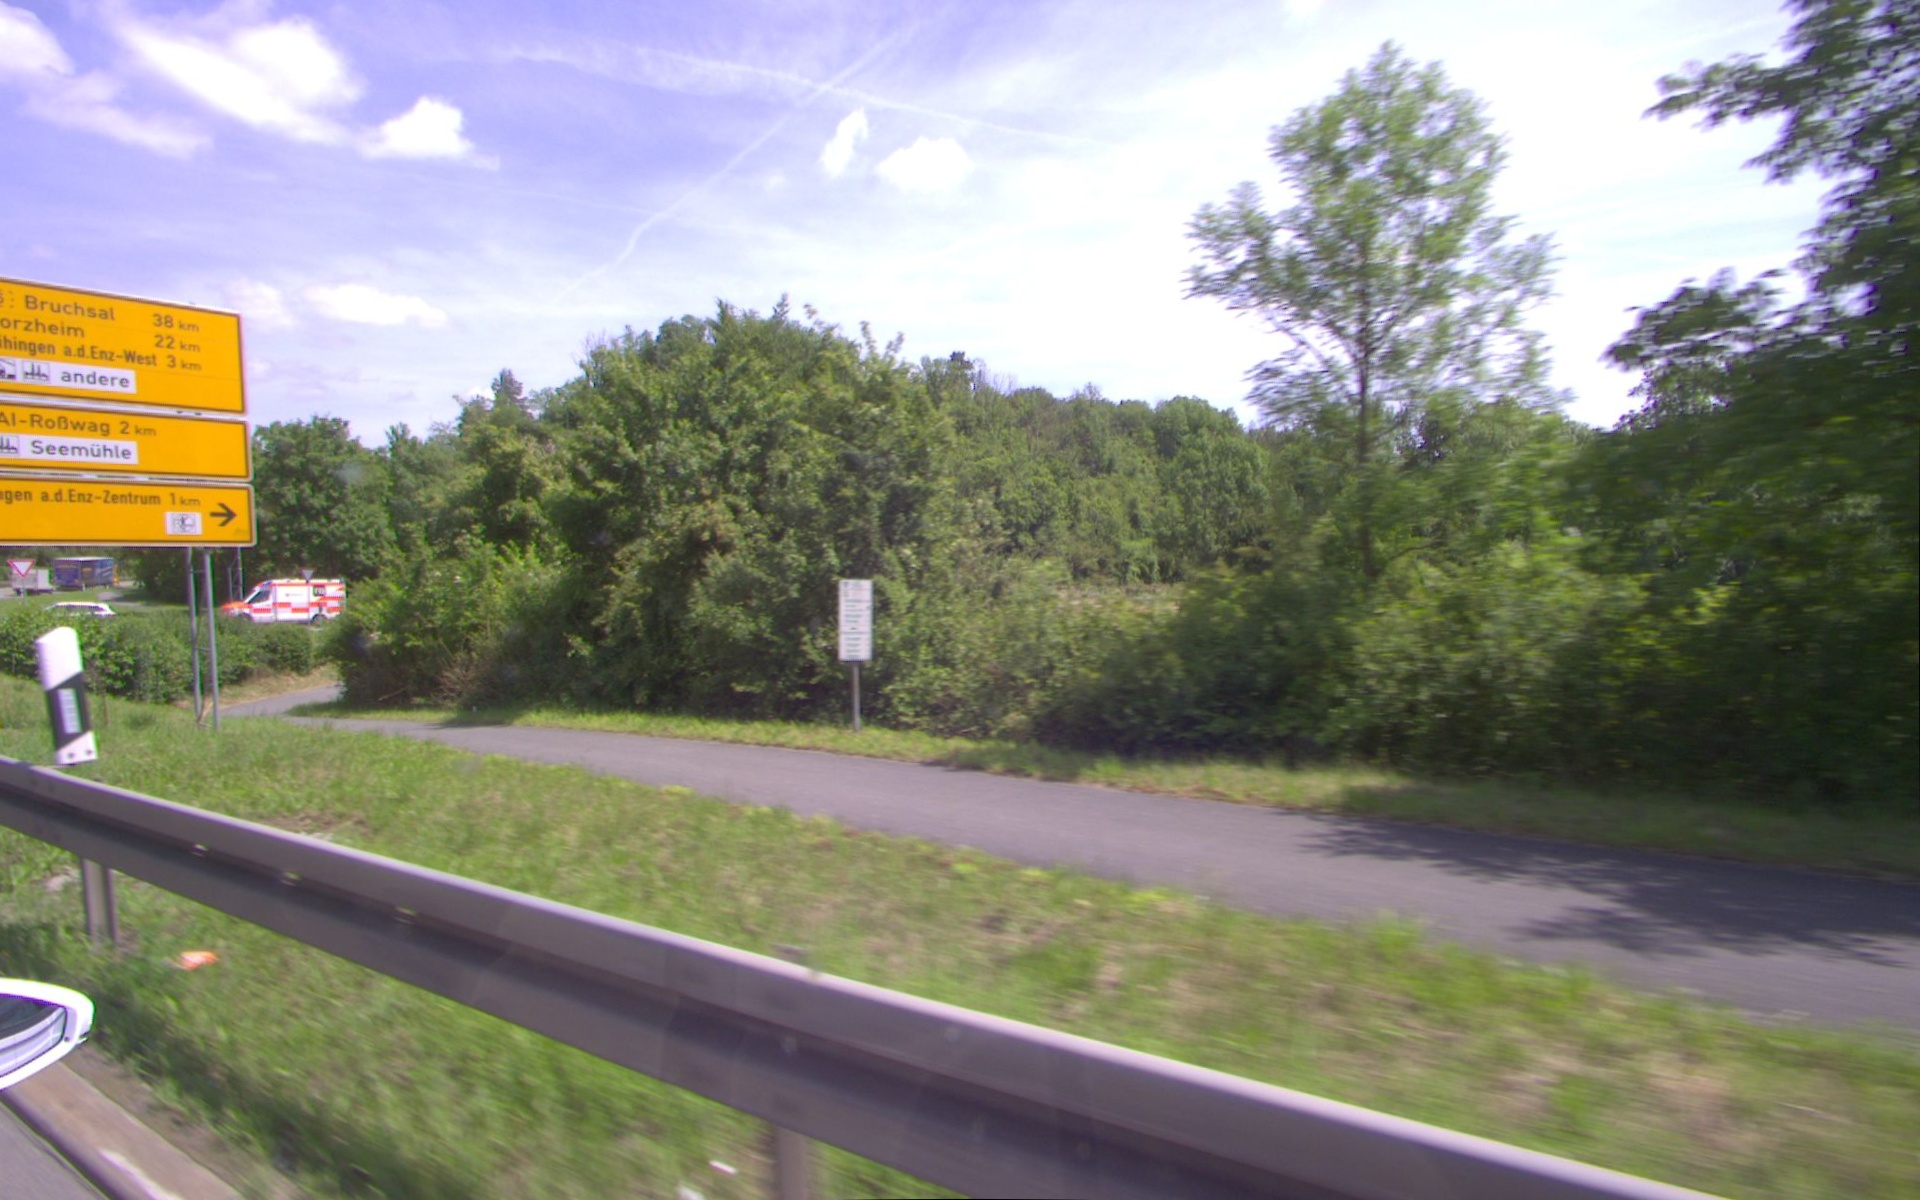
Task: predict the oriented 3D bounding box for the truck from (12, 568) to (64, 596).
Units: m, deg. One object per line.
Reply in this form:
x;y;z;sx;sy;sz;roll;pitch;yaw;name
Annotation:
-104.152;-1.986;113.241;2.824;2.987;7.066;0;0;-30;truck

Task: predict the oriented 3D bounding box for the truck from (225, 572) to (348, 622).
-39.747;-0.130;59.315;5.950;2.762;2.488;1;-2;-33;truck

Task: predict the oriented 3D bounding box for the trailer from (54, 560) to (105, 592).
-112.146;-2.986;127.670;3.216;3.734;9.200;0;0;-30;trailer

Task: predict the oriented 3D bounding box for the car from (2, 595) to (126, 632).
-44.282;0.720;49.557;1.978;1.740;4.405;-2;-3;42;car
